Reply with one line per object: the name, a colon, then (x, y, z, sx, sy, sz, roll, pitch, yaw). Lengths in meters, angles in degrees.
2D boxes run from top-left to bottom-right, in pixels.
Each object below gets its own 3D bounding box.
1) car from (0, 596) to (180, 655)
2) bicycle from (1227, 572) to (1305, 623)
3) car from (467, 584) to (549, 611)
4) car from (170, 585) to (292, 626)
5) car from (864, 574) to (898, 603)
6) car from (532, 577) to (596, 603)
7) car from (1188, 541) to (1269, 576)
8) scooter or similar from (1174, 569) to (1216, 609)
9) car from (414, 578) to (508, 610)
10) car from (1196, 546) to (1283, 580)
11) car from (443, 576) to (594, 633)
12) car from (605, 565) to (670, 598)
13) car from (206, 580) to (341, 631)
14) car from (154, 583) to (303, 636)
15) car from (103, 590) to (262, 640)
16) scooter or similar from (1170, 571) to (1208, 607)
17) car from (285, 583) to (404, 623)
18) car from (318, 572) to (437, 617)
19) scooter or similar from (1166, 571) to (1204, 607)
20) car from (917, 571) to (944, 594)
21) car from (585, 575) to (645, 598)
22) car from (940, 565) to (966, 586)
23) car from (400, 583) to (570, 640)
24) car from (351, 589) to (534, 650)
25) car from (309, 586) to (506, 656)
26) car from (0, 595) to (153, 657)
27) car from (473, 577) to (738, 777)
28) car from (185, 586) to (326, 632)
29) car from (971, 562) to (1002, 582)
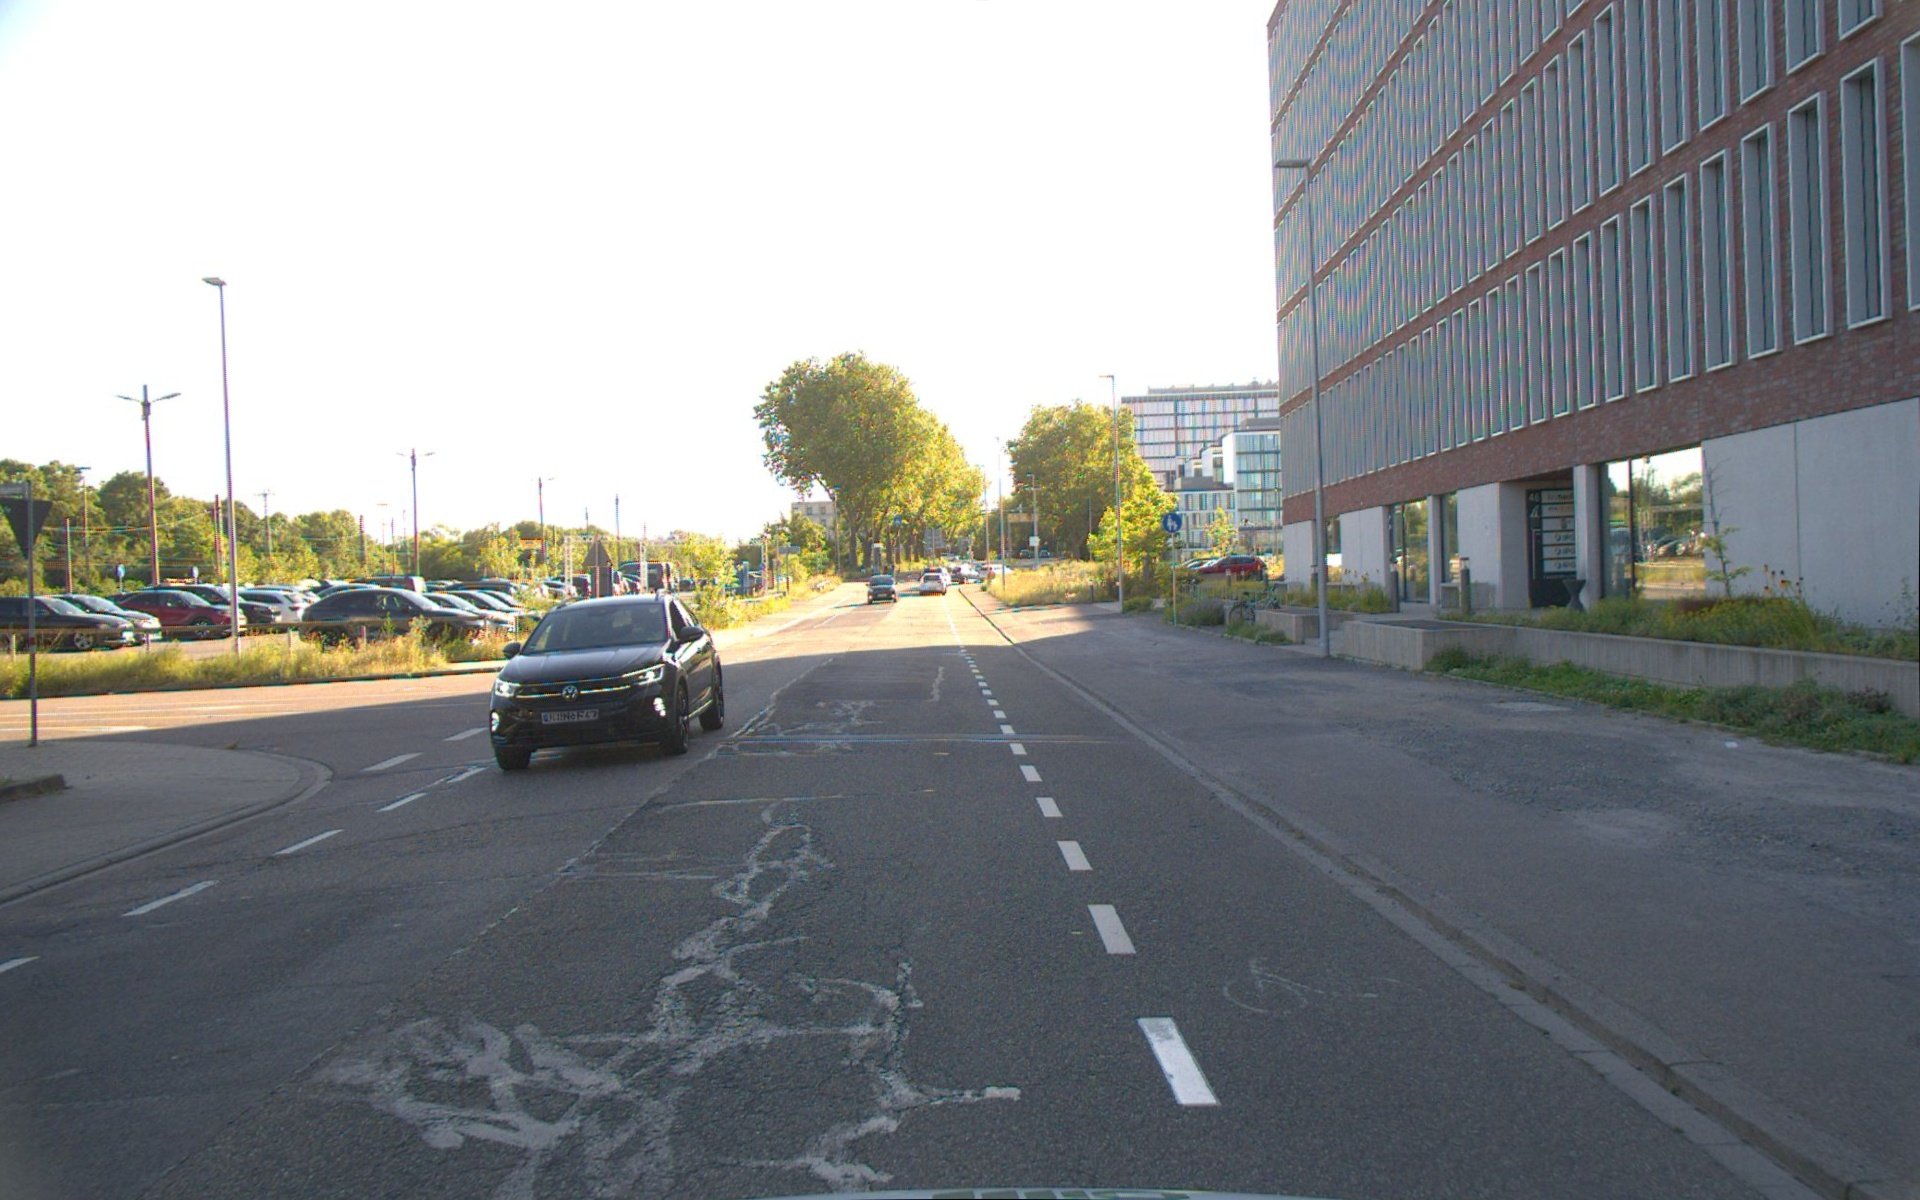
car: (-25.120, 0.707, 47.580, 4.316, 1.490, 2.047, -2, 1, -5)
bicycle: (7.862, -0.067, 42.488, 1.895, 1.190, 0.375, -3, 1, -7)
car: (-26.350, -0.161, 96.468, 4.234, 1.444, 1.878, -1, 1, -2)
car: (-30.802, 0.221, 69.960, 4.278, 1.572, 1.857, -1, 1, 0)
car: (-4.458, -0.640, 93.565, 1.620, 1.529, 4.000, -3, 0, 0)
car: (-26.311, -0.690, 110.064, 3.804, 1.631, 1.878, -1, 1, -2)
car: (14.640, -2.243, 90.317, 4.097, 1.608, 1.852, -2, -4, 2)
scooter or similar: (7.686, -0.368, 54.098, 1.312, 1.267, 0.424, -2, 1, 3)
car: (-25.915, -0.317, 85.971, 4.233, 1.550, 1.878, -1, 1, 0)
car: (14.053, -1.849, 83.411, 4.097, 1.608, 1.852, -1, 1, 2)
car: (-14.453, 0.123, 54.315, 4.338, 1.699, 2.049, -2, 1, 0)
car: (-26.466, -1.517, 135.887, 4.827, 2.502, 2.319, -2, 1, -2)
car: (-25.099, 0.192, 60.598, 4.078, 1.691, 1.965, -2, 1, -4)
car: (-24.654, 0.304, 55.855, 4.079, 1.606, 2.047, -2, 1, -5)
car: (-24.778, 0.456, 52.810, 4.079, 1.421, 2.047, -2, 1, -5)
scooter or similar: (7.702, -0.373, 55.656, 1.217, 1.176, 0.366, -2, 1, 3)
car: (-26.113, 0.114, 70.278, 4.278, 1.572, 1.857, -1, 1, 0)
car: (-25.562, -0.261, 72.665, 4.482, 1.836, 1.857, -1, 1, 0)
scooter or similar: (7.783, -0.381, 57.262, 1.217, 1.215, 0.340, -2, 1, 3)
car: (-1.992, -1.218, 111.057, 1.754, 1.445, 3.999, -2, 1, -1)
car: (-26.714, -1.074, 128.274, 4.234, 1.646, 1.878, -1, 1, -2)
car: (-0.592, -2.056, 139.903, 2.119, 1.713, 4.001, -1, 0, 1)
car: (-13.949, 0.310, 48.763, 4.338, 1.487, 2.049, -2, 1, 0)
car: (-14.192, 0.513, 45.519, 4.338, 1.487, 2.049, -2, 1, 0)
car: (-14.170, 0.521, 42.614, 4.338, 1.608, 2.049, -2, 1, 0)
car: (-24.580, 0.703, 44.860, 4.316, 1.490, 2.047, -2, 1, -5)
car: (-3.356, 0.637, 16.427, 1.706, 1.552, 4.110, -6, 1, -1)
car: (-24.780, 0.300, 58.296, 4.079, 1.421, 2.047, -2, 1, -5)
car: (2.350, -2.450, 145.737, 2.117, 1.713, 4.004, -1, 0, 9)
